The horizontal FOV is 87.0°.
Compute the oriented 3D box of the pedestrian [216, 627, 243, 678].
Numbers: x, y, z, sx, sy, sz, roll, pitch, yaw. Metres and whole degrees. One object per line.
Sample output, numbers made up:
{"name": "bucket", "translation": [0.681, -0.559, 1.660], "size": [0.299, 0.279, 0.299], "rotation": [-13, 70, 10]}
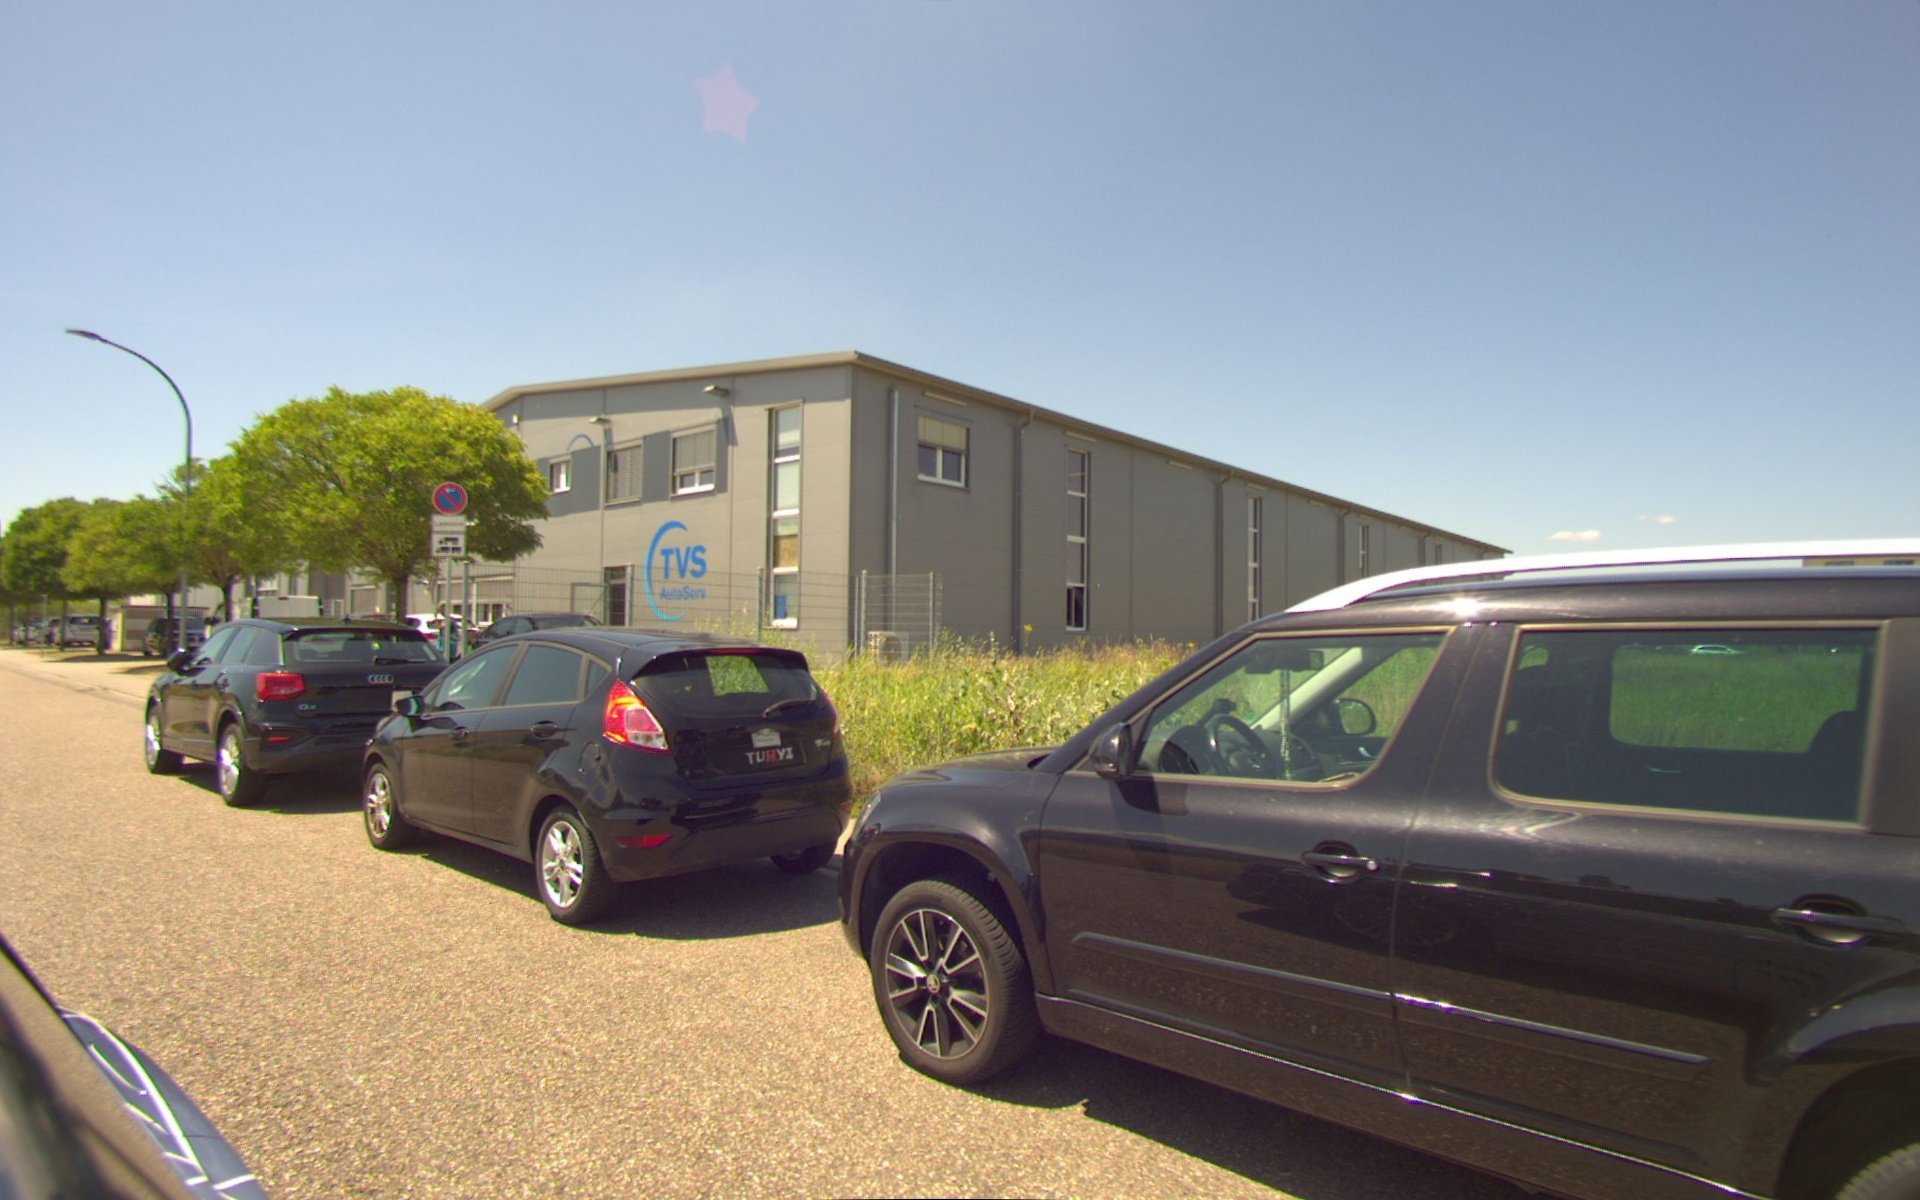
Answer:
{"name": "pedestrian", "translation": [-17.505, 1.250, 24.254], "size": [0.472, 1.159, 0.556], "rotation": [-1, 2, -39]}

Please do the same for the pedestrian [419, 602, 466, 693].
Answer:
{"name": "pedestrian", "translation": [-9.394, 0.851, 18.375], "size": [0.753, 1.607, 0.500], "rotation": [-1, 0, 43]}

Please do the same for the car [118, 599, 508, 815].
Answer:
{"name": "car", "translation": [-6.211, 0.865, 9.539], "size": [4.186, 1.579, 1.907], "rotation": [-2, -3, 40]}

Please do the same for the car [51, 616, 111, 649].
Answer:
{"name": "car", "translation": [-44.489, 1.630, 51.212], "size": [4.538, 1.585, 1.747], "rotation": [-2, -1, 42]}

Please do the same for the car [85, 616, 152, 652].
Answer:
{"name": "car", "translation": [-36.574, 1.467, 43.946], "size": [3.839, 1.464, 1.746], "rotation": [-2, -1, 42]}

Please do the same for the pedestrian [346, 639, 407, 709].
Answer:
{"name": "pedestrian", "translation": [-9.966, 1.245, 17.279], "size": [0.647, 1.107, 0.742], "rotation": [-1, 0, 45]}

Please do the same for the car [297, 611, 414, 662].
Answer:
{"name": "car", "translation": [-19.045, 1.131, 31.848], "size": [4.083, 1.451, 1.907], "rotation": [-2, 0, 40]}

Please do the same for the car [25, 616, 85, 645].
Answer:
{"name": "car", "translation": [-48.598, 1.665, 54.317], "size": [3.698, 1.511, 1.667], "rotation": [-2, -2, 37]}

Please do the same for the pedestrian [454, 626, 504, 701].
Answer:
{"name": "pedestrian", "translation": [-8.114, 1.055, 17.055], "size": [0.753, 1.200, 0.500], "rotation": [-1, 0, 43]}

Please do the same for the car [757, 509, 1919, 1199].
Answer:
{"name": "car", "translation": [1.382, 0.737, 3.025], "size": [4.234, 1.676, 1.659], "rotation": [-2, -3, 41]}

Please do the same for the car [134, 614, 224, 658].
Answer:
{"name": "car", "translation": [-28.595, 1.303, 36.993], "size": [4.712, 1.464, 1.747], "rotation": [-2, 0, 41]}

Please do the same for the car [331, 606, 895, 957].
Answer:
{"name": "car", "translation": [-2.311, 0.847, 6.228], "size": [3.831, 1.504, 1.573], "rotation": [-2, -3, 41]}

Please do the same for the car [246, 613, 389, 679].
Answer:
{"name": "car", "translation": [-16.721, 1.114, 26.250], "size": [4.840, 1.451, 1.906], "rotation": [0, 1, 42]}

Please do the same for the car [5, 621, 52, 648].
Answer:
{"name": "car", "translation": [-56.898, 2.093, 61.797], "size": [4.327, 1.511, 1.804], "rotation": [-2, -1, 43]}

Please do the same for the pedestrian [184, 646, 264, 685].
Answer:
{"name": "pedestrian", "translation": [-16.706, 1.477, 22.996], "size": [0.753, 0.754, 1.343], "rotation": [-1, 0, 43]}

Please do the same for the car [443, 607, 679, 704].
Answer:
{"name": "car", "translation": [-7.192, 0.913, 17.997], "size": [4.688, 1.476, 1.907], "rotation": [-2, 0, 40]}

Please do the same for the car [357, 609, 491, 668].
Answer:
{"name": "car", "translation": [-15.031, 1.048, 28.279], "size": [4.464, 1.476, 1.906], "rotation": [-2, 0, 42]}

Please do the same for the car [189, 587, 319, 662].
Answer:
{"name": "car", "translation": [-20.954, 0.709, 29.947], "size": [5.120, 2.034, 1.819], "rotation": [-2, 0, 39]}
